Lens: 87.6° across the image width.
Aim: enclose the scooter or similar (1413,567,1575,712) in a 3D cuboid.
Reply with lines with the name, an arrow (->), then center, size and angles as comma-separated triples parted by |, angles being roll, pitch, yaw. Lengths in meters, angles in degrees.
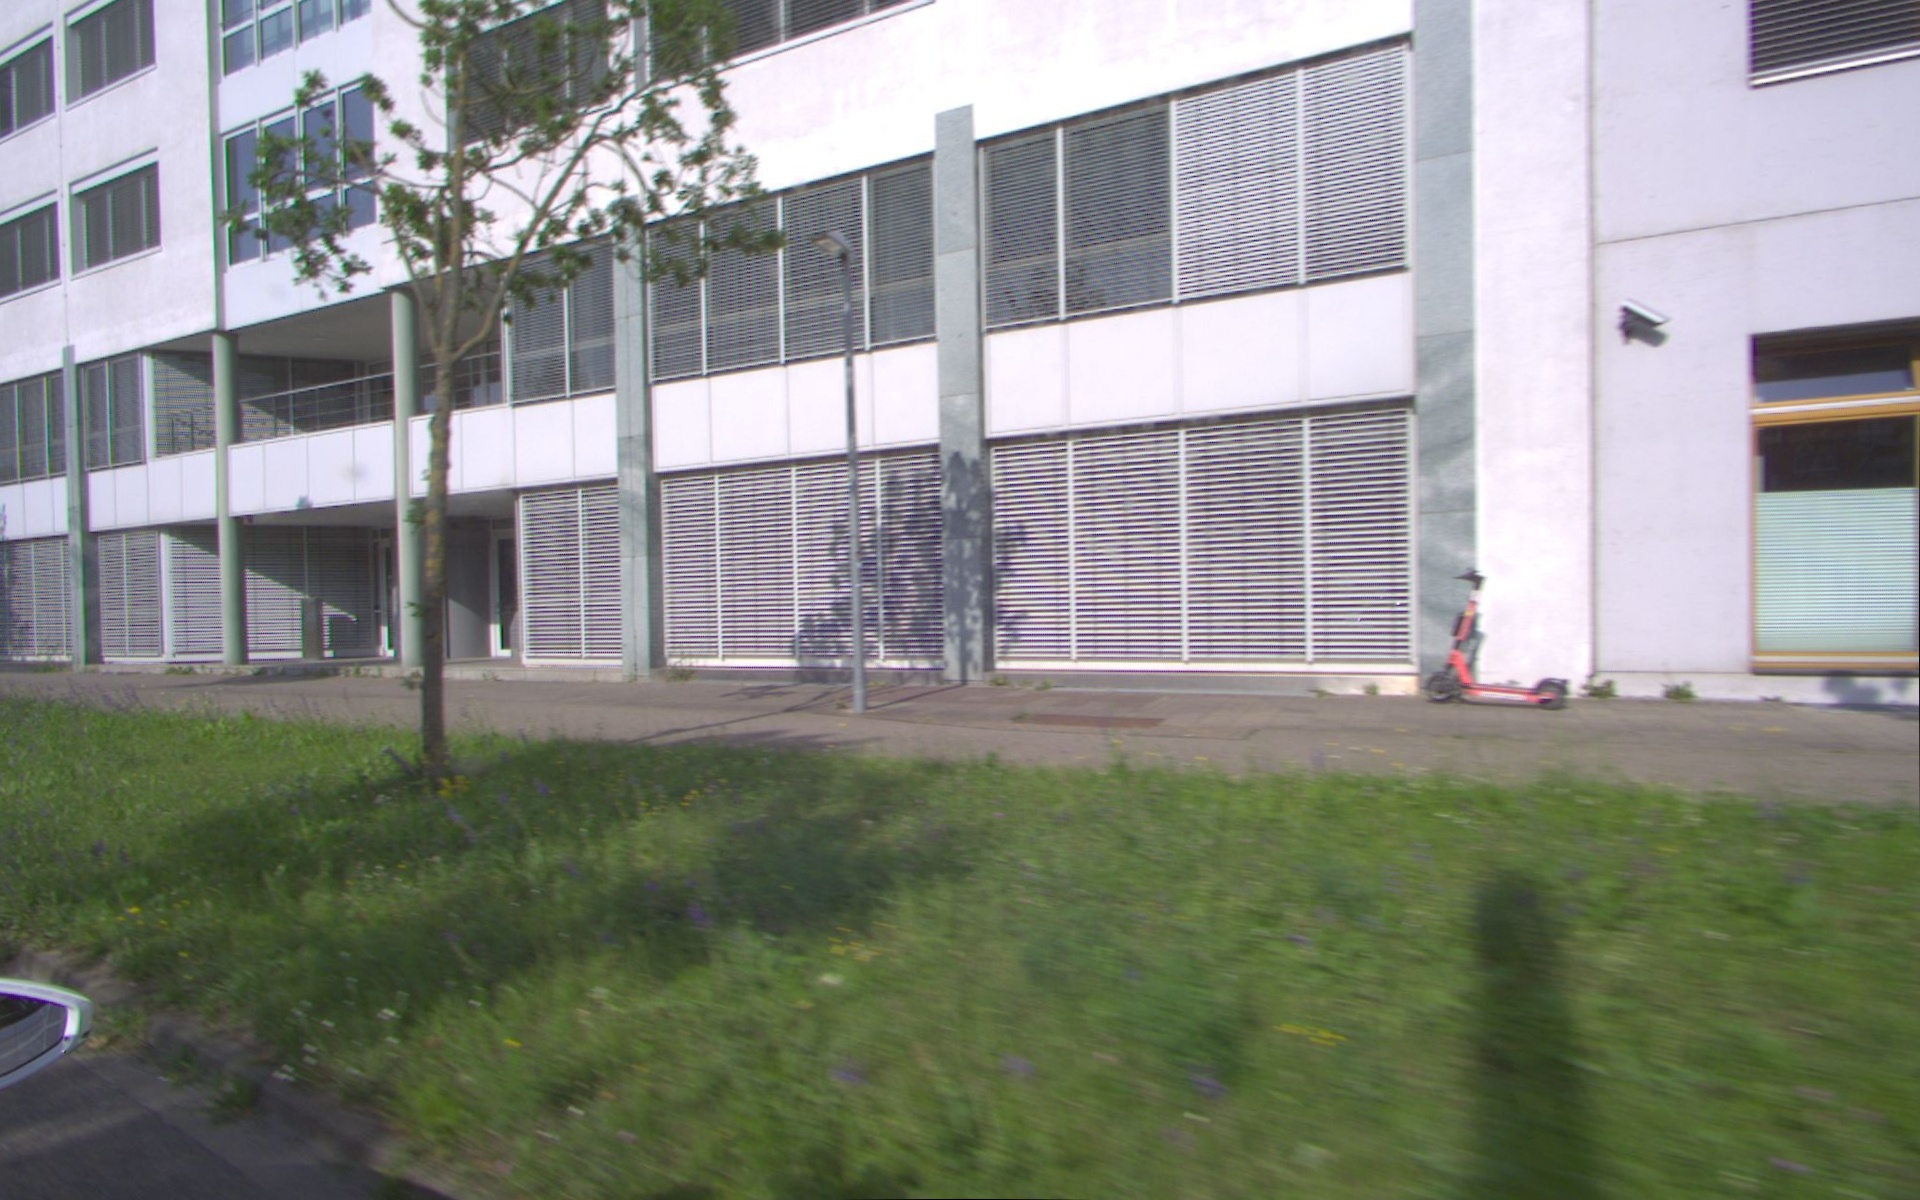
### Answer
scooter or similar -> 4.778, 0.340, 8.978 | 1.237, 1.229, 0.461 | -1, 1, 32
